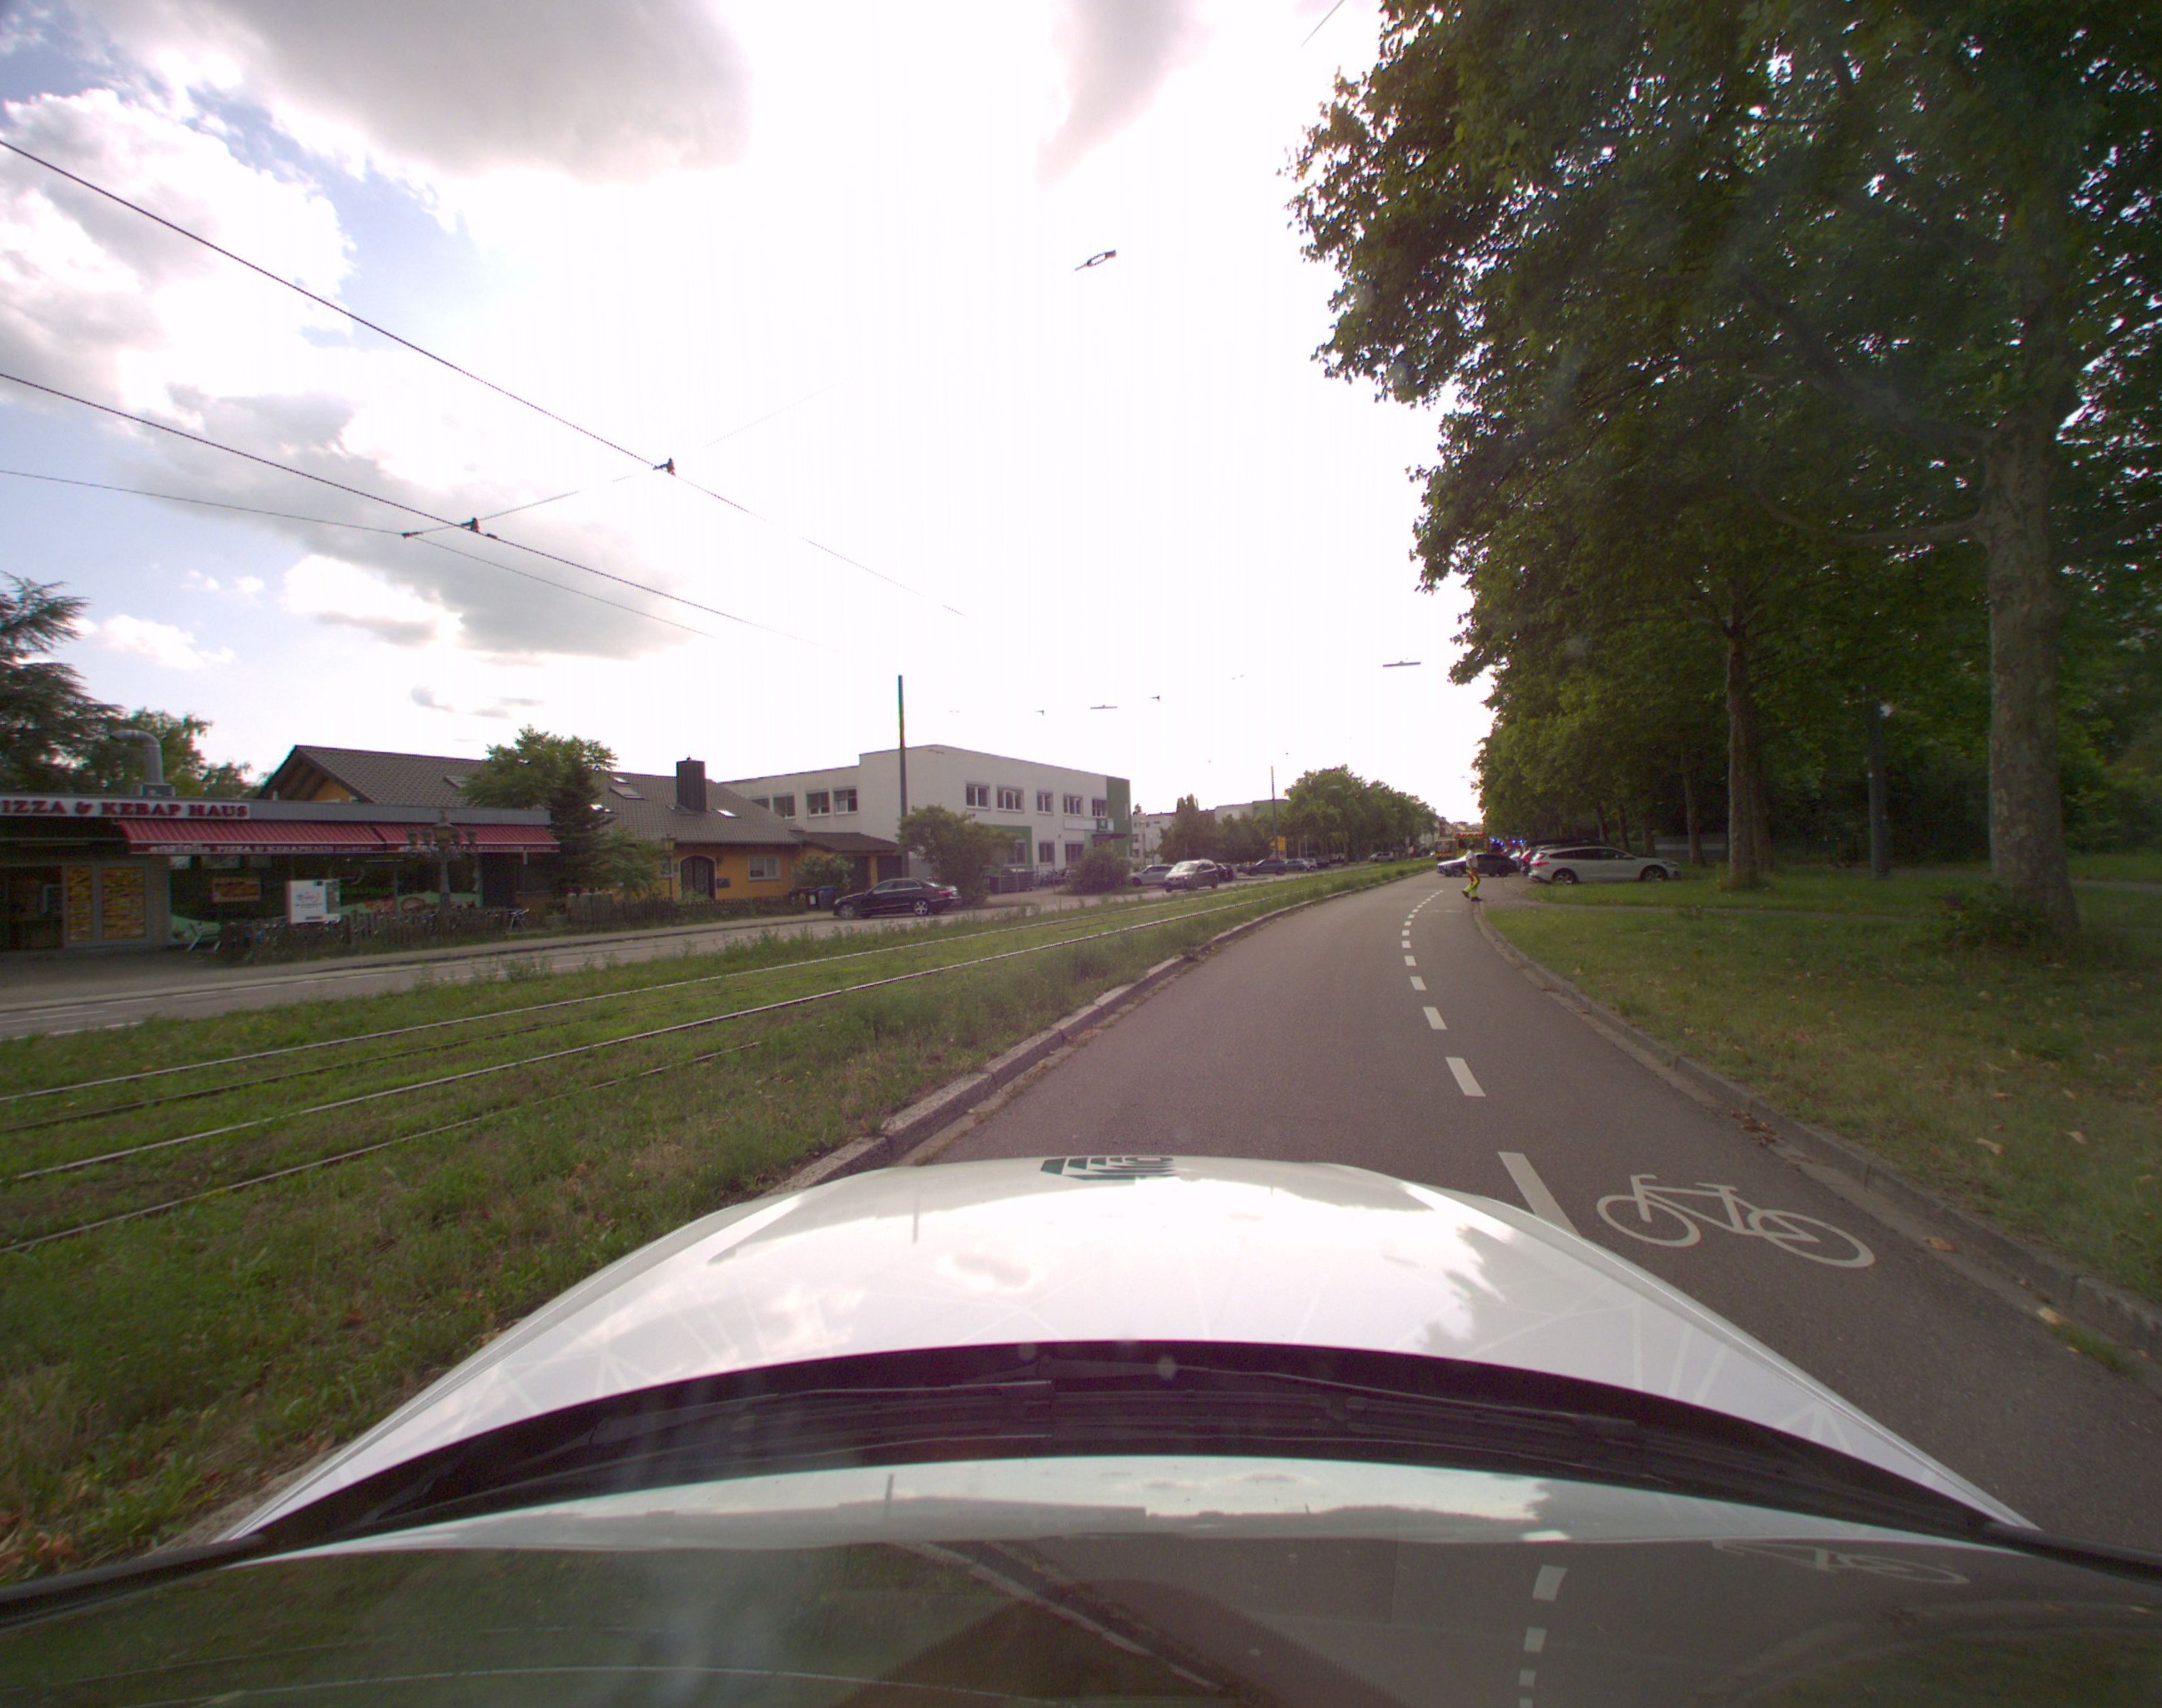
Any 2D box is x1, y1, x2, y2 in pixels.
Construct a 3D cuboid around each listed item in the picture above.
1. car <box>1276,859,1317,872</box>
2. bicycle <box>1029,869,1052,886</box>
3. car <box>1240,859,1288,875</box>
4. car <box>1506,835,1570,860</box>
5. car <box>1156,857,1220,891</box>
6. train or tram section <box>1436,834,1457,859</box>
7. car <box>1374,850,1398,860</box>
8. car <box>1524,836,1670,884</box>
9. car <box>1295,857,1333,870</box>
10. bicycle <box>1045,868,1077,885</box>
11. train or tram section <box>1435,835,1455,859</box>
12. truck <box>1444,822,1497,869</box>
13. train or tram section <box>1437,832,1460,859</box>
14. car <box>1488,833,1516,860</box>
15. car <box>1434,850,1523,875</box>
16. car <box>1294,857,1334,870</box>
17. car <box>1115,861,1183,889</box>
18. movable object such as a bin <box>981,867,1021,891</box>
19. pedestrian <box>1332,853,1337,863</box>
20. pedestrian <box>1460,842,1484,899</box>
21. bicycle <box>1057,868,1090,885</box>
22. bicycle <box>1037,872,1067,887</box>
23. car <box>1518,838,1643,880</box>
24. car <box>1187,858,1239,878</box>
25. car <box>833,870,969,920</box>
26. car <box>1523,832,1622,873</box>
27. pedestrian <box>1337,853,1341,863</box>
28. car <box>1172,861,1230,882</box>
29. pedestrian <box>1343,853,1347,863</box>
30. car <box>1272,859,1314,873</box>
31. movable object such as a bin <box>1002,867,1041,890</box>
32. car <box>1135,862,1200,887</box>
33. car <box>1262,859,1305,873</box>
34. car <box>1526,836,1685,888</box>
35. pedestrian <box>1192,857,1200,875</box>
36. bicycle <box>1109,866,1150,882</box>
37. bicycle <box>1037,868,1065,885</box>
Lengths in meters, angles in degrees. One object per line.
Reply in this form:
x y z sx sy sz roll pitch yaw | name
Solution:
24.545 1.307 92.962 4.280 1.364 1.905 -3 -1 5 | car
-2.900 1.703 58.562 1.600 1.166 0.710 -3 -1 44 | bicycle
17.540 1.239 78.240 4.282 1.364 1.904 -3 -1 3 | car
63.139 -0.878 112.785 7.369 3.330 2.991 -1 -1 22 | car
6.163 1.114 46.453 1.974 1.722 4.769 -3 -1 28 | car
54.835 -1.130 122.290 2.466 3.596 7.461 -3 -1 22 | train or tram section
59.011 0.227 157.834 3.979 1.838 1.819 0 -1 -4 | car
19.715 0.266 31.407 4.487 1.644 2.011 -3 -2 25 | car
28.721 1.187 100.480 4.280 1.364 1.905 -3 -1 5 | car
-1.487 1.678 60.600 2.321 1.166 0.765 -3 -1 33 | bicycle
57.658 -1.095 129.156 2.466 3.596 7.461 -3 -1 22 | train or tram section
30.149 -0.615 62.900 3.153 3.317 7.569 -3 -1 29 | truck
52.021 -1.162 115.403 2.466 3.596 7.461 -3 -1 22 | train or tram section
53.068 -0.875 102.840 2.938 3.330 7.503 -1 -1 26 | car
24.423 0.520 50.148 4.569 1.393 1.844 -2 -1 5 | car
27.409 1.160 95.953 4.280 1.364 1.905 -3 -1 5 | car
4.535 1.399 54.742 4.295 1.629 1.898 -2 -1 -6 | car
-4.822 1.520 49.325 1.359 1.326 2.130 -3 -1 31 | movable object such as a bin
43.880 0.627 141.065 0.614 1.729 0.650 -1 -1 27 | pedestrian
11.749 0.487 24.494 0.580 1.684 0.497 -2 -2 28 | pedestrian
-0.566 1.683 61.415 2.386 1.166 0.753 -3 -1 35 | bicycle
-2.111 1.876 59.892 2.131 0.970 0.735 -3 -1 32 | bicycle
21.996 0.267 36.096 4.487 1.644 2.011 -3 -2 25 | car
11.104 1.188 68.617 4.136 1.504 1.863 -2 -1 5 | car
-6.771 1.536 30.950 4.540 1.580 2.004 -4 -1 7 | car
26.830 -0.064 44.665 4.499 2.014 2.012 -3 -2 28 | car
44.593 0.618 140.627 0.614 1.729 0.650 -1 -1 27 | pedestrian
9.227 1.348 62.702 4.143 1.504 1.860 -2 -1 0 | car
45.611 0.612 140.799 0.614 1.729 0.650 -1 -1 27 | pedestrian
23.531 1.295 90.554 4.280 1.364 1.905 -3 -1 5 | car
-3.736 1.528 51.242 1.359 1.326 2.145 -3 -1 31 | movable object such as a bin
6.039 1.420 57.290 4.288 1.629 1.901 -2 -1 -1 | car
21.770 1.287 87.703 4.280 1.364 1.905 -3 -1 5 | car
18.557 0.319 29.078 4.487 1.644 2.011 -3 -2 25 | car
10.824 1.145 76.691 0.591 1.675 0.544 -3 -1 19 | pedestrian
4.002 1.663 66.910 3.106 1.166 1.148 -3 -1 23 | bicycle
-2.073 1.590 57.031 1.775 1.081 0.741 -3 -1 25 | bicycle
